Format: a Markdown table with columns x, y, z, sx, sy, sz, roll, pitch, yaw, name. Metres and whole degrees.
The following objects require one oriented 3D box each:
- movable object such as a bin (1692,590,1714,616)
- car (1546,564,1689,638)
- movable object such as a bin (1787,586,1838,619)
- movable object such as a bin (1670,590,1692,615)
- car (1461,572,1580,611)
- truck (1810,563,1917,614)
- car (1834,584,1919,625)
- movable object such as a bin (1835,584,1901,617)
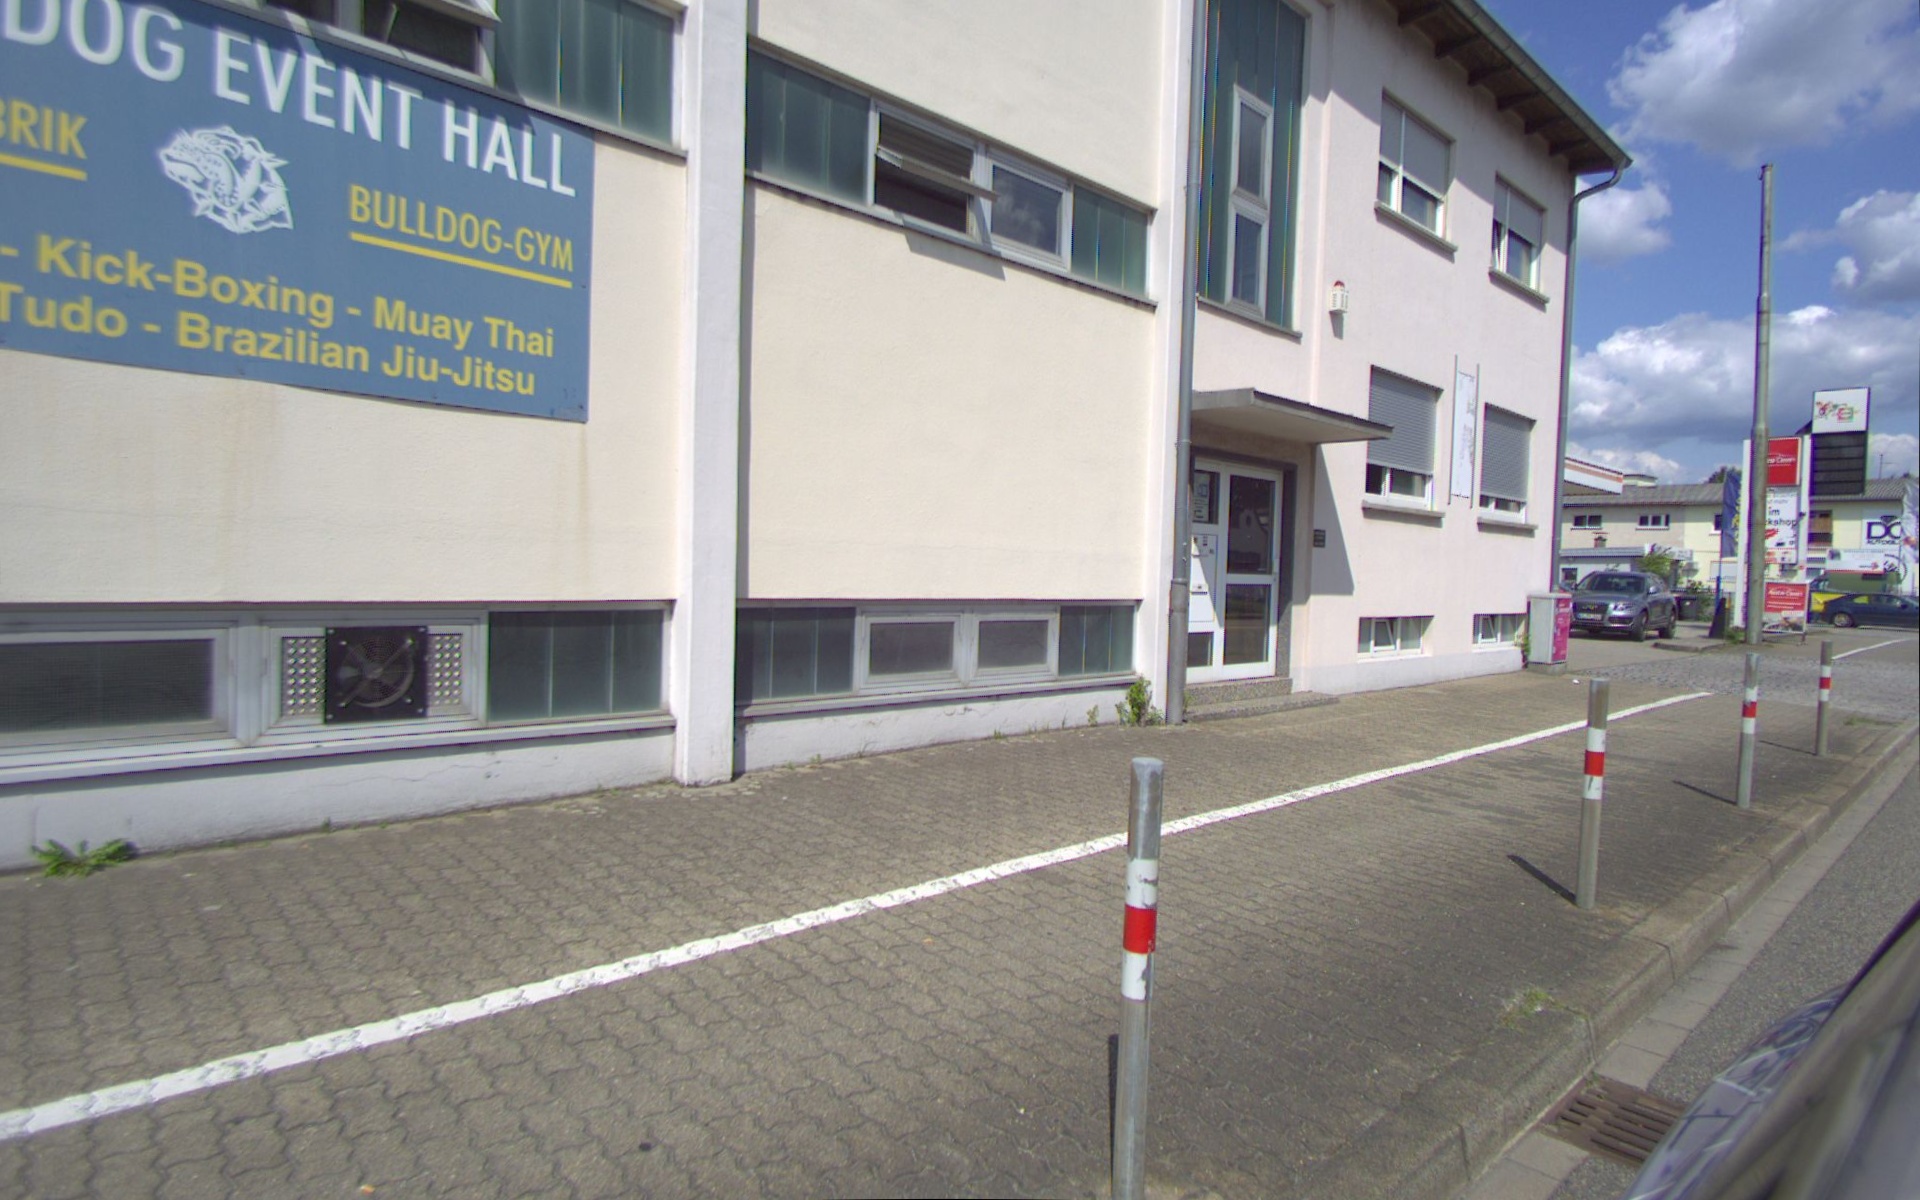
| x | y | z | sx | sy | sz | roll | pitch | yaw | name |
| --- | --- | --- | --- | --- | --- | --- | --- | --- | --- |
| 29.778 | 0.116 | 40.542 | 0.695 | 1.023 | 0.581 | -1 | 1 | -43 | movable object such as a bin |
| 16.395 | -0.025 | 25.160 | 4.539 | 1.645 | 1.948 | -1 | 3 | -44 | car |
| 37.702 | 0.098 | 44.765 | 1.735 | 1.427 | 1.534 | -1 | 1 | -42 | movable object such as a bin |
| 29.266 | 0.098 | 41.080 | 0.695 | 1.023 | 0.581 | -1 | 1 | -43 | movable object such as a bin |
| 24.285 | -0.409 | 43.957 | 1.740 | 1.441 | 4.145 | -1 | 4 | -40 | car |
| 50.208 | -0.653 | 56.286 | 2.071 | 2.693 | 4.179 | -1 | 1 | -40 | truck |
| 35.536 | 0.182 | 37.816 | 1.616 | 1.425 | 4.067 | -1 | 3 | -35 | car |
| 39.159 | 0.019 | 43.666 | 1.679 | 1.364 | 1.965 | -1 | 1 | -42 | movable object such as a bin |
